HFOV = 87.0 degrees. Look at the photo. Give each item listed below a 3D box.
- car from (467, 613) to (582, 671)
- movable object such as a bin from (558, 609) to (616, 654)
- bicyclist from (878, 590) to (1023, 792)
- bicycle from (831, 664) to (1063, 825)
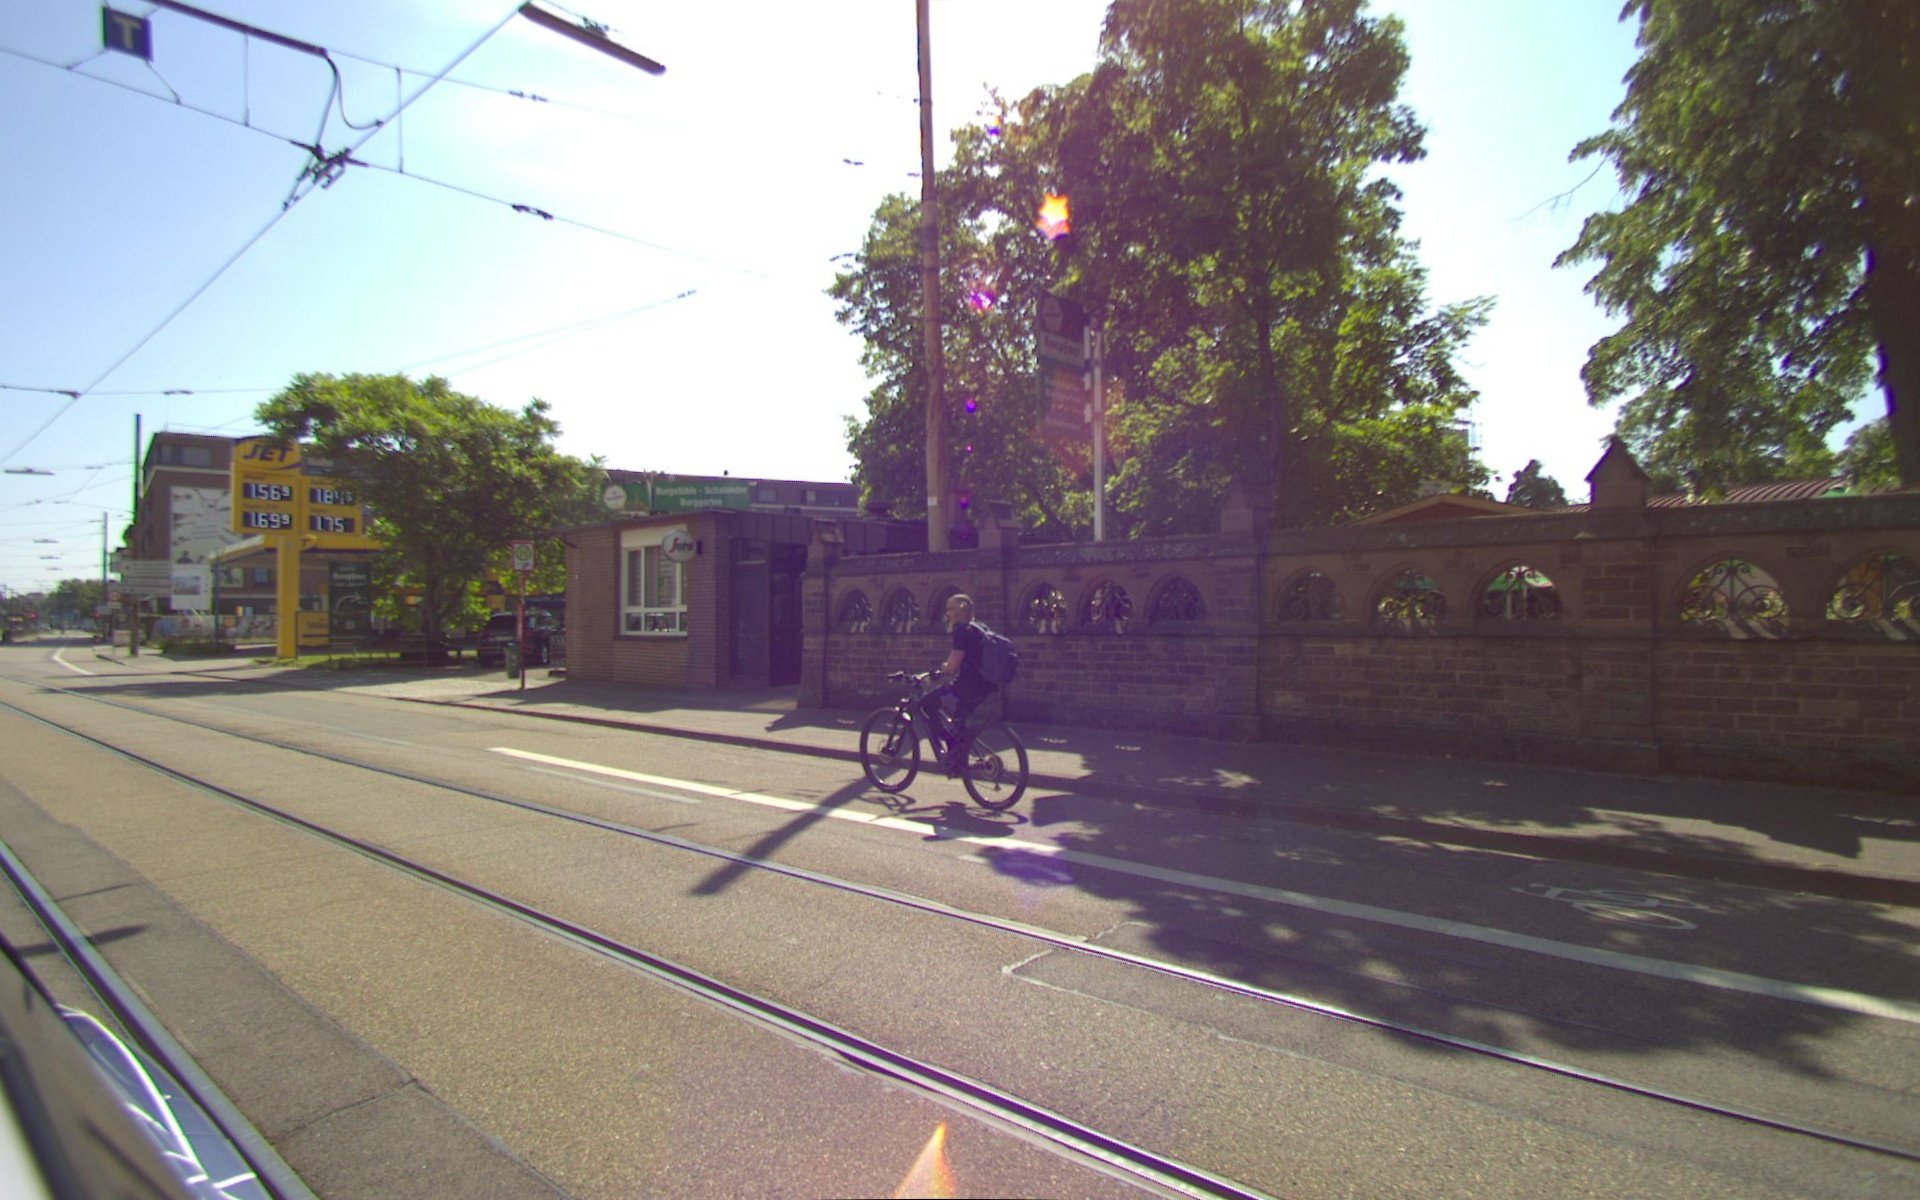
[{"bbox_3d":[-13.494,1.248,31.655,1.989,1.653,4.665,-1,-1,-6],"label":"car"},{"bbox_3d":[-13.046,1.105,35.400,1.380,1.514,1.401,-2,-4,44],"label":"movable object such as a bin"},{"bbox_3d":[-0.081,0.706,8.341,0.947,1.542,0.732,-1,-2,41],"label":"bicyclist"},{"bbox_3d":[-0.160,1.120,8.355,2.053,1.114,0.585,-2,-2,42],"label":"bicycle"}]
